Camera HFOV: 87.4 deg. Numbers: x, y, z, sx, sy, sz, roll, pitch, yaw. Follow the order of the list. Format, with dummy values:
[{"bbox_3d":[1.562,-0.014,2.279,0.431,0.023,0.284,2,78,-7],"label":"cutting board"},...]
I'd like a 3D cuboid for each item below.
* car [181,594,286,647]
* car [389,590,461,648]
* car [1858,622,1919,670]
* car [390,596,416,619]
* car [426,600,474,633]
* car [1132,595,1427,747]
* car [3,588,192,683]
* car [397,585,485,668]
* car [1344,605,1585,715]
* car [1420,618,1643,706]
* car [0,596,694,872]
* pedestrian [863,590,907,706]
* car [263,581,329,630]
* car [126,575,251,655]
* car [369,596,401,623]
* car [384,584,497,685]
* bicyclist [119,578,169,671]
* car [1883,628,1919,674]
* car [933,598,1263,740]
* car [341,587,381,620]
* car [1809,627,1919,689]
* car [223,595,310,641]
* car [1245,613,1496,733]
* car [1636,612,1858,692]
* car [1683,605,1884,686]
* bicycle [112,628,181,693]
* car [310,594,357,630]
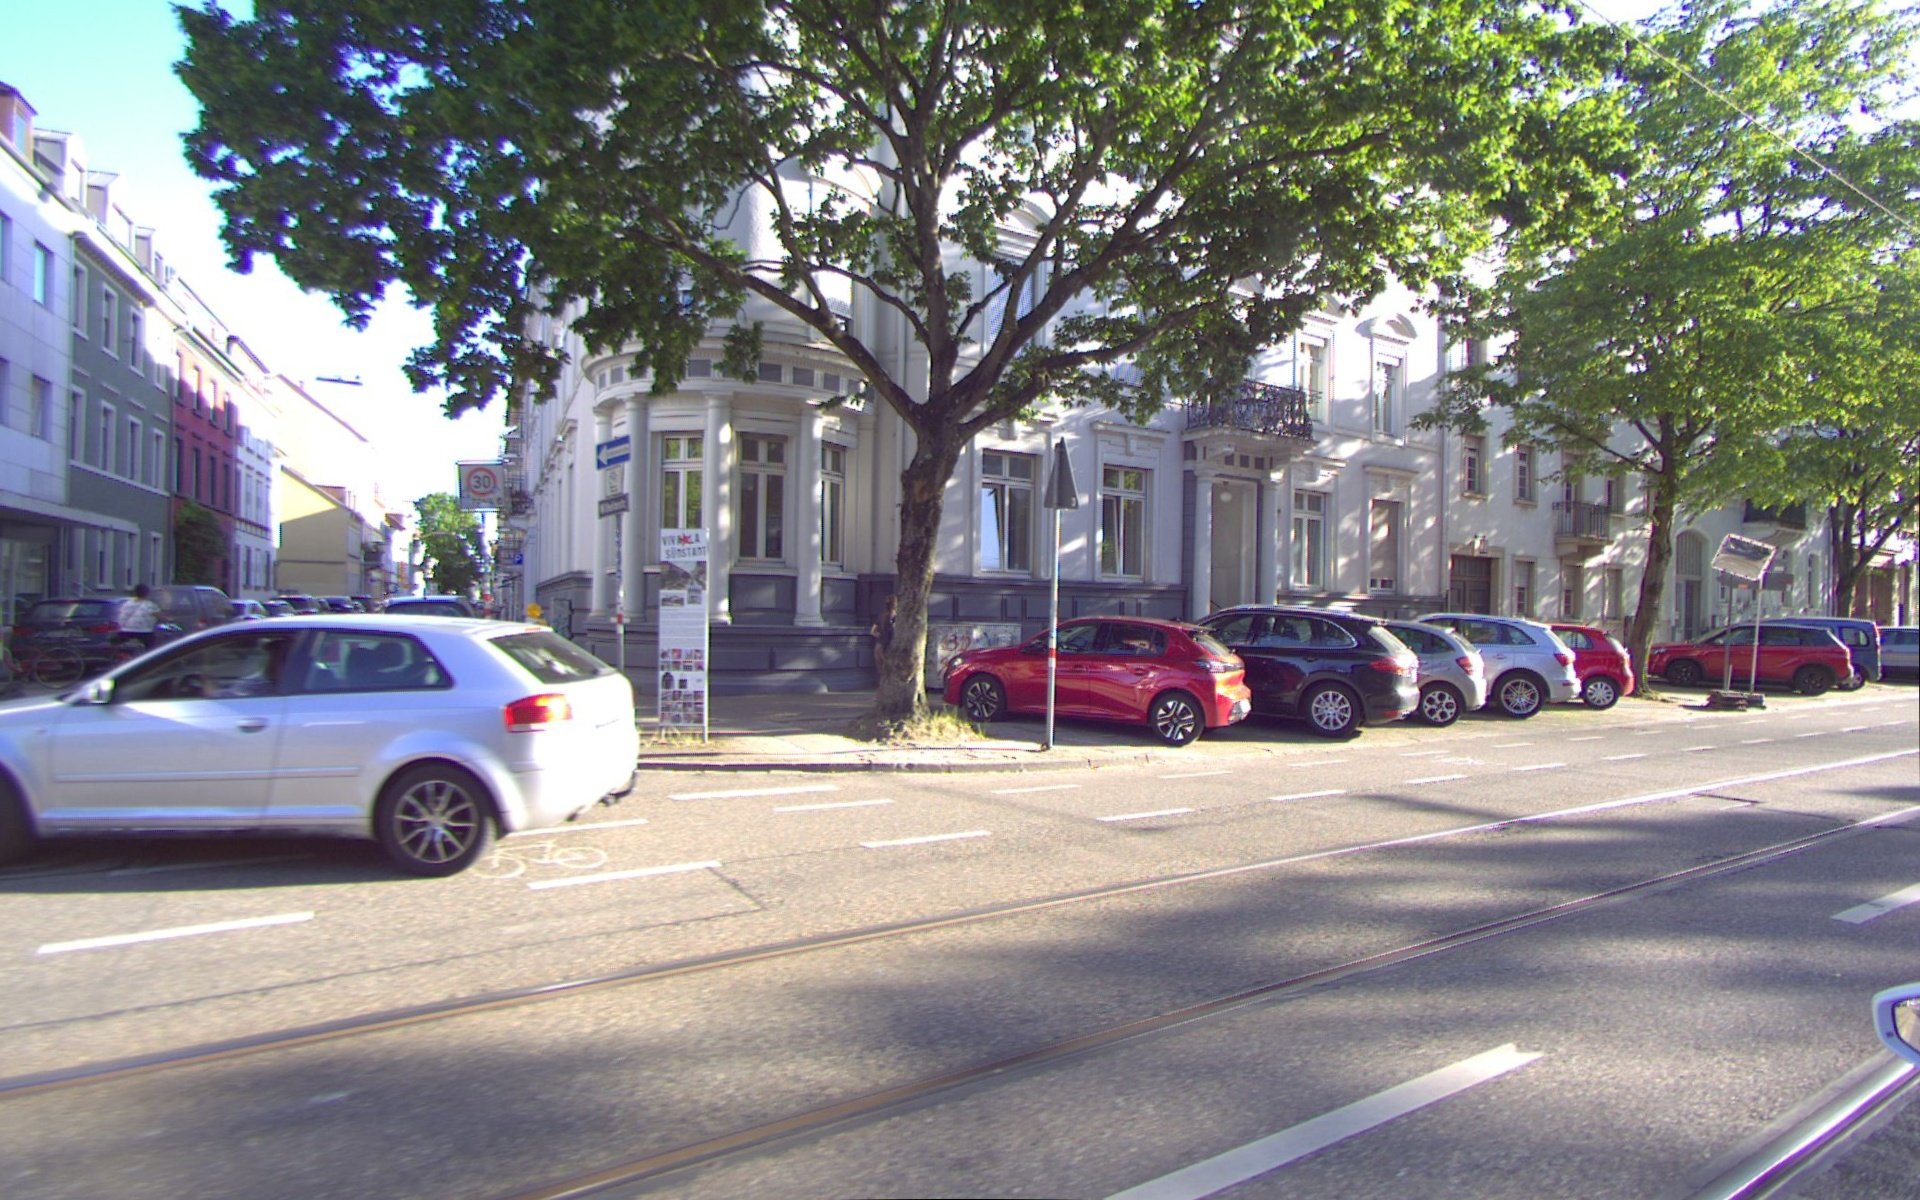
[{"bbox_3d":[-21.222,0.589,29.491,1.728,1.439,3.975,1,-1,-25],"label":"car"},{"bbox_3d":[-16.185,0.564,30.459,1.780,1.639,3.971,1,-1,-28],"label":"car"},{"bbox_3d":[30.220,1.451,31.138,3.324,1.438,1.402,1,0,30],"label":"car"},{"bbox_3d":[-45.882,0.624,82.819,1.716,1.773,3.972,1,-1,-27],"label":"car"},{"bbox_3d":[-22.103,0.706,43.620,1.715,1.372,3.974,1,-1,-26],"label":"car"},{"bbox_3d":[4.470,0.902,14.218,3.623,1.744,1.607,3,1,34],"label":"car"},{"bbox_3d":[-16.688,0.615,19.673,1.692,1.605,3.976,1,1,-24],"label":"car"},{"bbox_3d":[-10.753,0.526,20.867,1.456,1.569,3.744,1,-1,-27],"label":"car"},{"bbox_3d":[8.693,0.984,17.620,3.615,1.744,1.611,0,-1,23],"label":"car"},{"bbox_3d":[11.006,1.154,19.602,3.615,1.548,1.483,0,-1,23],"label":"car"},{"bbox_3d":[-3.939,0.735,6.273,4.089,1.455,1.715,1,-1,-1],"label":"car"},{"bbox_3d":[-1.058,0.670,14.071,0.505,1.593,0.344,1,0,-28],"label":"pedestrian"},{"bbox_3d":[-25.499,0.223,38.675,1.716,1.773,3.971,1,-1,-28],"label":"car"},{"bbox_3d":[-18.867,0.363,24.730,1.585,1.795,3.975,1,-1,-25],"label":"car"},{"bbox_3d":[-39.516,0.625,69.097,1.716,1.773,3.972,1,-1,-27],"label":"car"},{"bbox_3d":[-8.377,0.522,16.274,1.456,1.462,3.227,1,-1,-27],"label":"car"},{"bbox_3d":[-12.486,0.369,15.379,0.453,1.396,0.636,1,-1,-28],"label":"bicyclist"},{"bbox_3d":[32.397,1.686,32.723,3.229,1.504,1.465,0,-1,36],"label":"car"},{"bbox_3d":[1.759,0.796,12.914,3.840,1.472,1.637,2,0,25],"label":"car"},{"bbox_3d":[-33.909,0.224,56.940,1.716,1.773,3.971,1,-1,-28],"label":"car"},{"bbox_3d":[27.444,1.707,29.714,3.324,1.720,1.402,1,0,30],"label":"car"},{"bbox_3d":[-23.238,0.588,33.790,1.728,1.439,3.975,1,-1,-25],"label":"car"},{"bbox_3d":[6.491,1.076,16.014,3.499,1.684,1.736,1,-1,25],"label":"car"},{"bbox_3d":[19.209,1.224,24.755,4.100,1.743,1.580,1,0,31],"label":"car"},{"bbox_3d":[21.639,1.159,26.598,3.770,1.856,1.729,2,0,28],"label":"car"},{"bbox_3d":[-12.456,0.898,15.414,0.445,0.893,1.887,1,-1,-28],"label":"bicycle"},{"bbox_3d":[-29.111,0.560,46.750,1.529,1.580,3.588,1,-1,-27],"label":"car"}]
